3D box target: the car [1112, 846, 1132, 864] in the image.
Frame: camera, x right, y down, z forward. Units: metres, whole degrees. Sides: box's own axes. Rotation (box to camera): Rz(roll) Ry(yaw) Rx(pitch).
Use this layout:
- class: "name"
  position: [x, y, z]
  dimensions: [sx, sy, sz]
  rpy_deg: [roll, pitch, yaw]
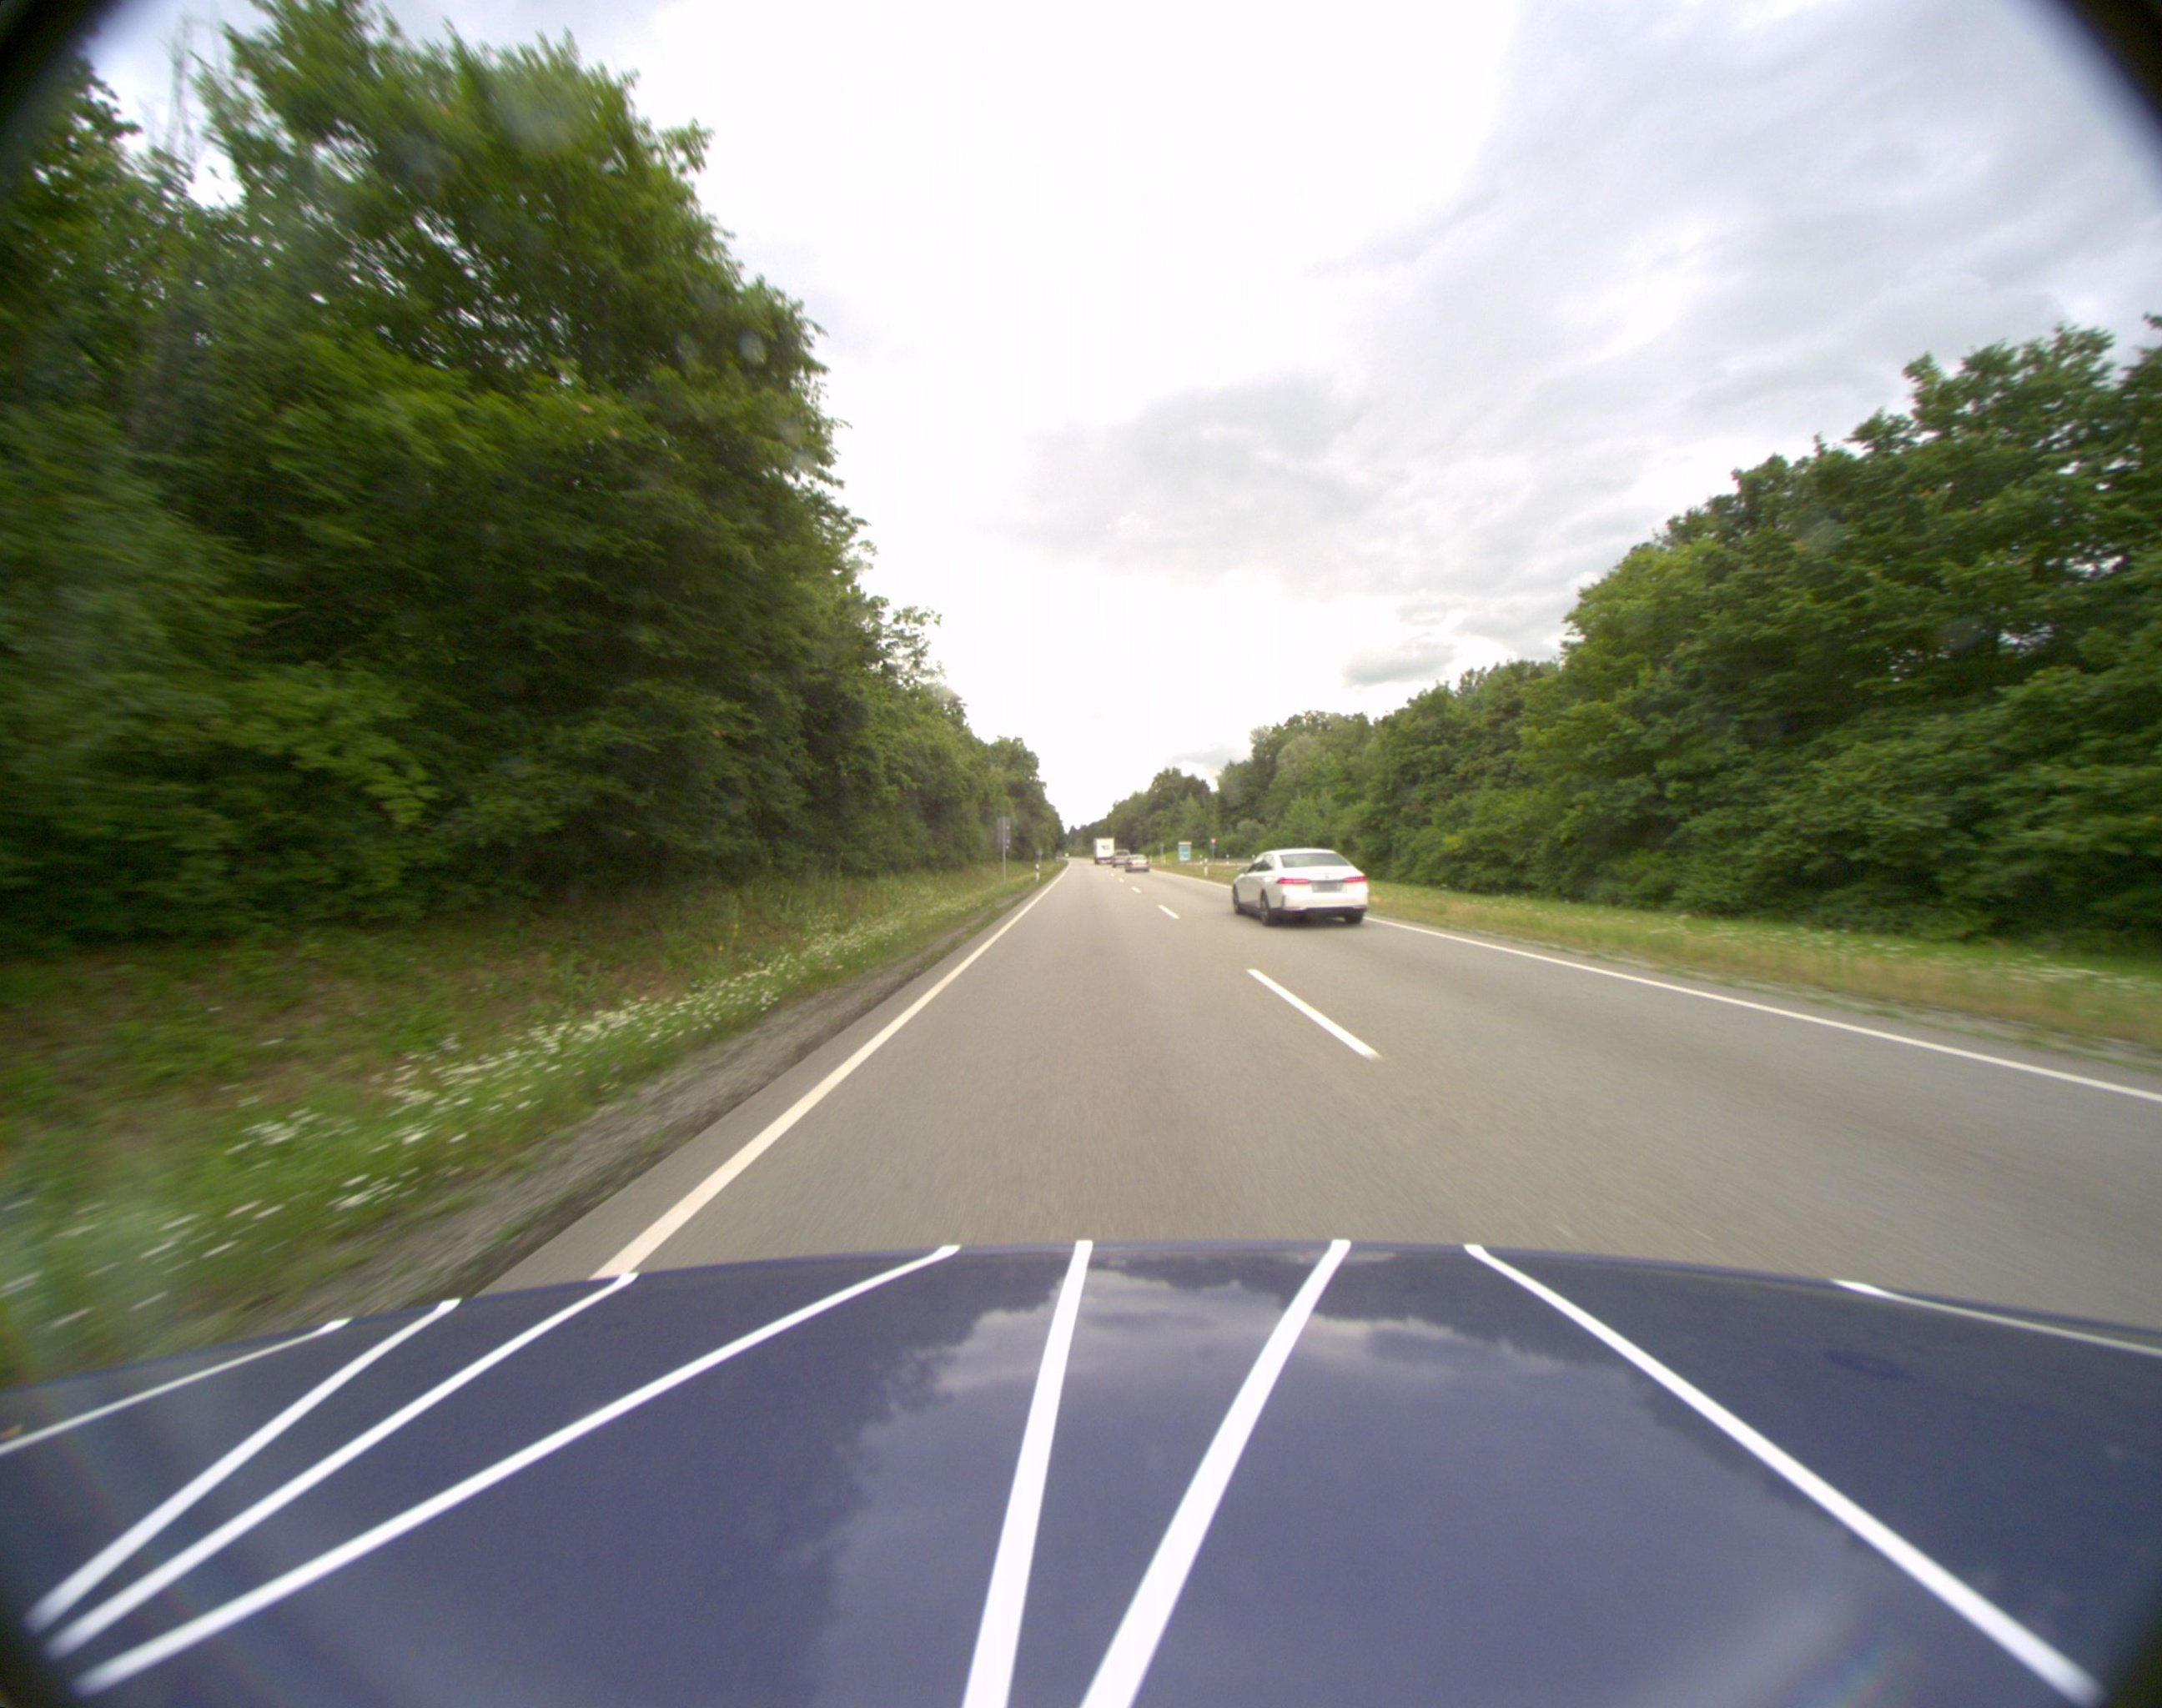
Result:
- class: "car"
  position: [4.746, 0.076, 88.130]
  dimensions: [1.998, 1.929, 5.810]
  rpy_deg: [-2, 1, 0]

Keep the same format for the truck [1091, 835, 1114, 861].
- class: "truck"
  position: [3.563, -1.030, 126.522]
  dimensions: [3.198, 4.039, 9.573]
  rpy_deg: [-2, 1, -1]

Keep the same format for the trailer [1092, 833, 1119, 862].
- class: "trailer"
  position: [3.738, -1.009, 118.884]
  dimensions: [3.212, 4.043, 14.268]
  rpy_deg: [-2, 1, -2]

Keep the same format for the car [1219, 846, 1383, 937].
- class: "car"
  position: [4.455, 0.657, 16.385]
  dimensions: [1.969, 1.565, 5.451]
  rpy_deg: [-2, 1, 1]

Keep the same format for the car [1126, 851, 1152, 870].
- class: "car"
  position: [4.661, 0.483, 62.006]
  dimensions: [1.730, 1.426, 4.503]
  rpy_deg: [-2, 1, 0]
